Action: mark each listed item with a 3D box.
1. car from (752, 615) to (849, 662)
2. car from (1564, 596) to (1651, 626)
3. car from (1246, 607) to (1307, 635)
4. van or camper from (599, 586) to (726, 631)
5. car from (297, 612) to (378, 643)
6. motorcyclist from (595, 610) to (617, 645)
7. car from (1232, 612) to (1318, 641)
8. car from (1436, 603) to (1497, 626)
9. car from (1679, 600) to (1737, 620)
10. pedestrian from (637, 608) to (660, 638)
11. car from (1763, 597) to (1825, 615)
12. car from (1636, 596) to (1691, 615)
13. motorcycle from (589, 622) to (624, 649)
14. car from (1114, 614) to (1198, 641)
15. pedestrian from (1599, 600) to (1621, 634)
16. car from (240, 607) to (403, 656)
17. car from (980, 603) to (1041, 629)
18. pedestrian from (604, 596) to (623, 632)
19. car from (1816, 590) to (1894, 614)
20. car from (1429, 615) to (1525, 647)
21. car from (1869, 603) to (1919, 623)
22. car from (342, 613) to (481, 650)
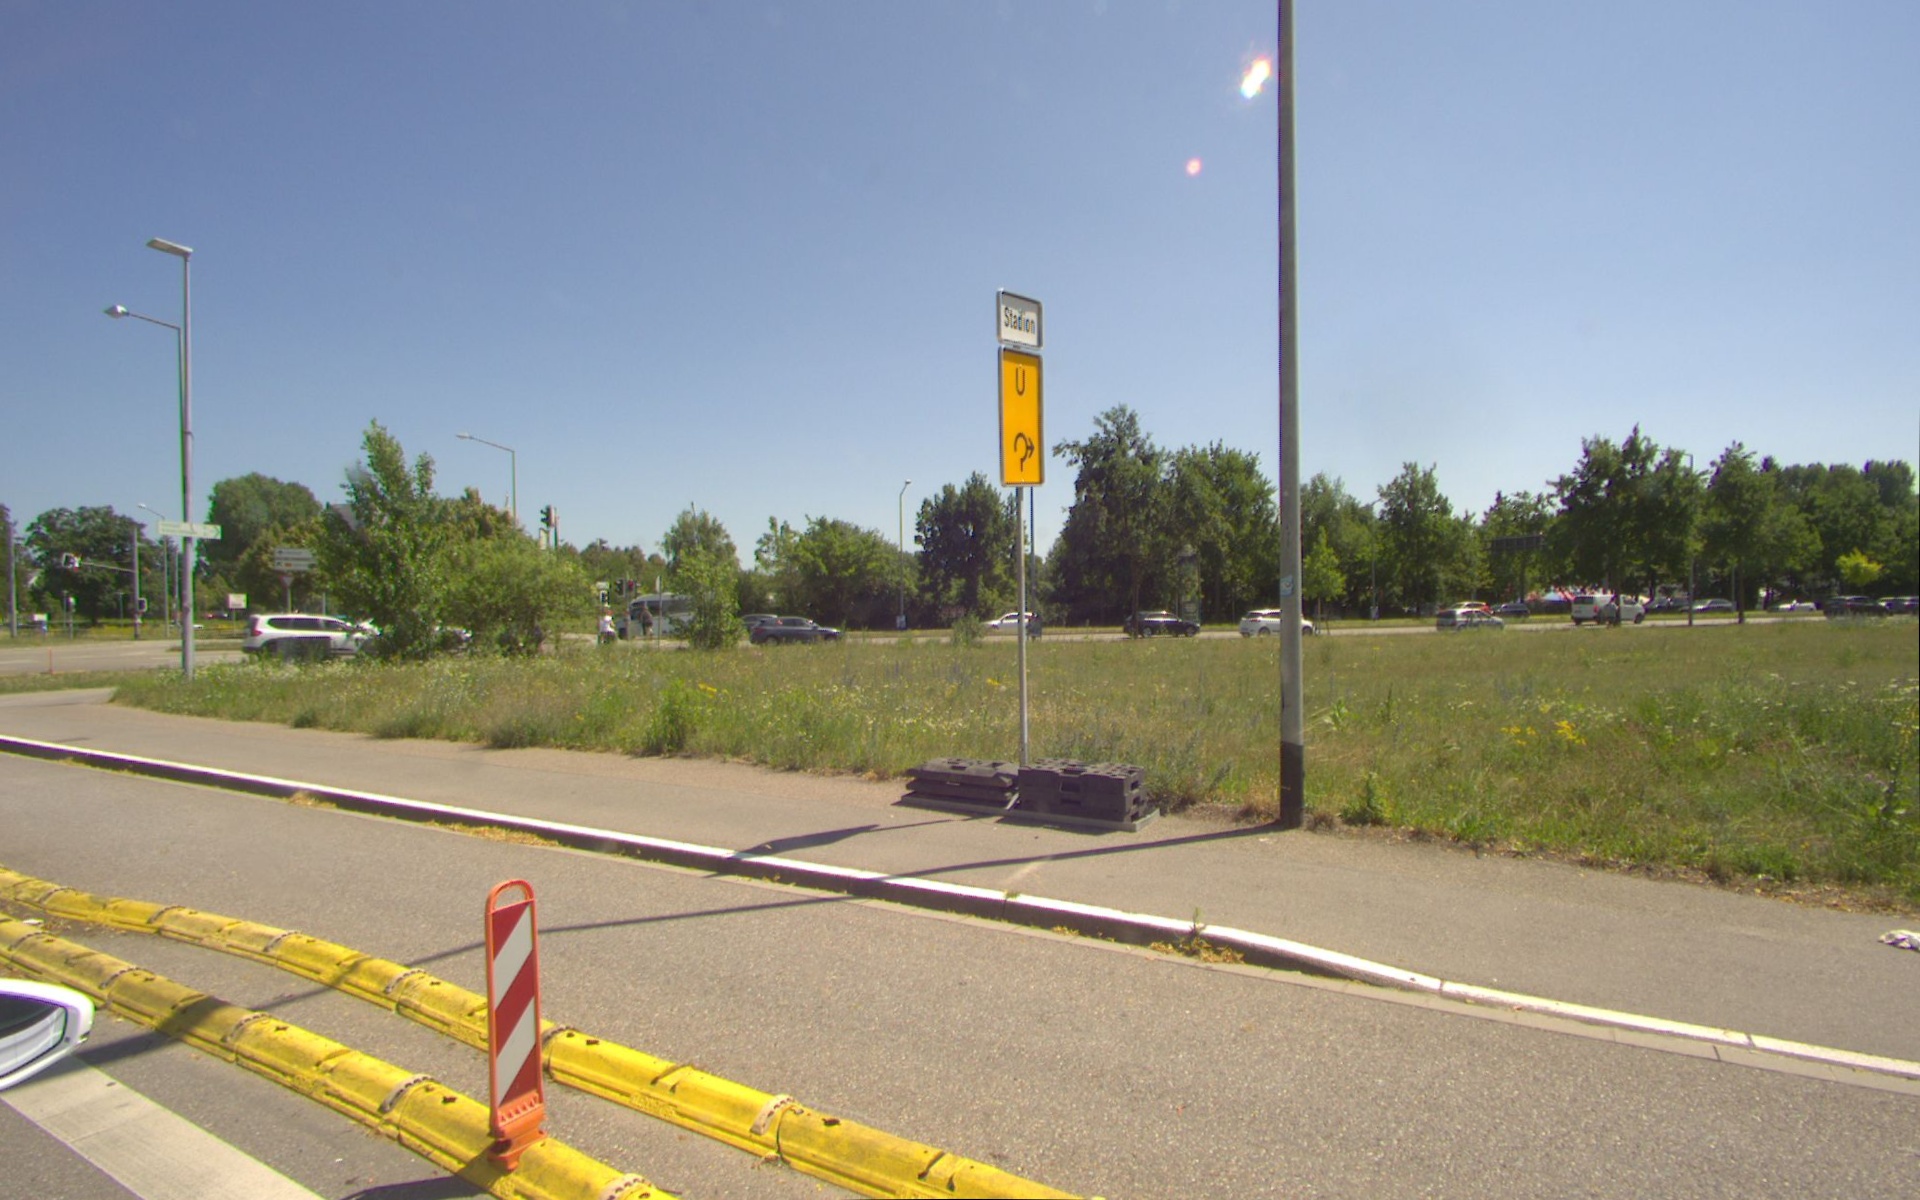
[{"bbox_3d":[-7.118,1.695,44.693,3.934,2.040,1.994,0,-1,-23],"label":"car"},{"bbox_3d":[41.603,0.704,64.366,4.897,1.874,1.997,0,-1,-16],"label":"car"},{"bbox_3d":[23.494,1.530,74.355,3.928,2.040,1.997,0,-1,-15],"label":"car"},{"bbox_3d":[-18.665,0.537,63.171,7.369,2.728,2.513,0,-1,-8],"label":"van or camper"},{"bbox_3d":[-38.377,1.719,61.799,3.924,1.861,1.999,0,-1,10],"label":"car"},{"bbox_3d":[-13.149,1.023,37.227,0.570,1.306,0.615,0,-1,3],"label":"motorcyclist"},{"bbox_3d":[16.249,1.363,51.716,3.946,1.463,1.632,0,-1,-11],"label":"car"},{"bbox_3d":[38.319,1.124,75.757,3.690,1.739,1.998,0,-1,-13],"label":"car"},{"bbox_3d":[61.114,0.818,81.810,3.928,1.572,1.738,0,-1,-16],"label":"car"},{"bbox_3d":[-16.524,1.241,53.116,0.811,1.583,0.790,-1,-1,34],"label":"pedestrian"},{"bbox_3d":[74.917,0.576,89.947,4.695,1.590,1.997,0,-1,-15],"label":"car"},{"bbox_3d":[59.700,0.478,84.975,3.928,1.572,1.738,0,-1,-16],"label":"car"},{"bbox_3d":[-13.124,1.313,37.182,0.619,0.982,1.709,0,-1,3],"label":"motorcycle"},{"bbox_3d":[10.463,1.474,53.566,3.931,1.425,1.996,0,-1,-19],"label":"car"},{"bbox_3d":[30.253,0.807,46.585,0.724,1.583,0.497,0,0,-18],"label":"pedestrian"},{"bbox_3d":[-22.275,1.084,35.015,4.545,1.586,1.981,1,-2,-44],"label":"car"},{"bbox_3d":[3.470,1.103,68.757,3.925,1.750,1.737,0,-1,-10],"label":"car"},{"bbox_3d":[-18.325,0.755,53.026,0.726,1.894,0.648,-1,-1,34],"label":"pedestrian"},{"bbox_3d":[60.824,0.160,68.035,4.369,1.616,1.997,0,-1,-17],"label":"car"},{"bbox_3d":[28.826,1.704,55.815,4.855,1.727,1.995,0,-1,-20],"label":"car"},{"bbox_3d":[69.012,0.984,73.184,4.131,1.409,1.899,0,-1,-15],"label":"car"},{"bbox_3d":[-23.919,1.356,43.822,1.976,1.529,4.971,-1,-2,39],"label":"car"}]
